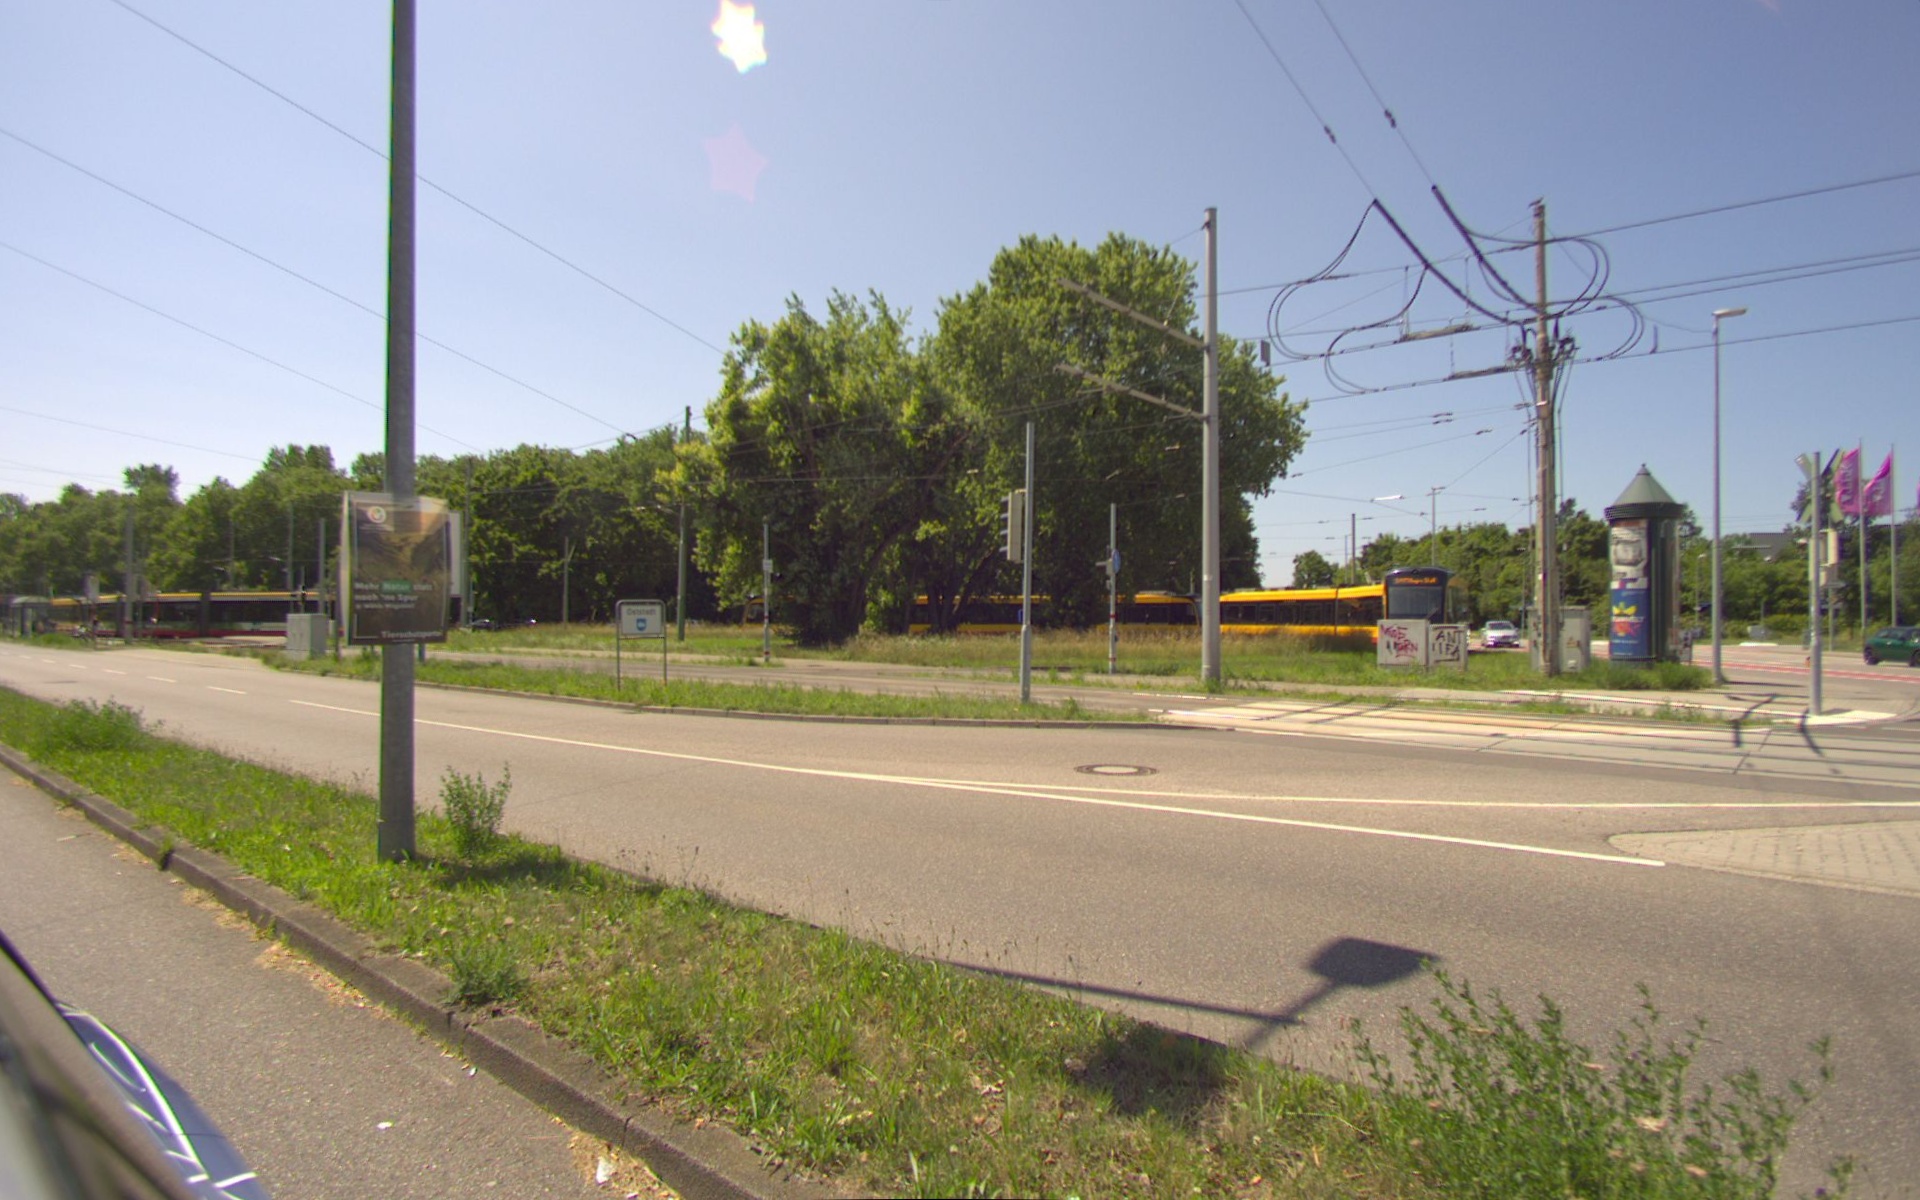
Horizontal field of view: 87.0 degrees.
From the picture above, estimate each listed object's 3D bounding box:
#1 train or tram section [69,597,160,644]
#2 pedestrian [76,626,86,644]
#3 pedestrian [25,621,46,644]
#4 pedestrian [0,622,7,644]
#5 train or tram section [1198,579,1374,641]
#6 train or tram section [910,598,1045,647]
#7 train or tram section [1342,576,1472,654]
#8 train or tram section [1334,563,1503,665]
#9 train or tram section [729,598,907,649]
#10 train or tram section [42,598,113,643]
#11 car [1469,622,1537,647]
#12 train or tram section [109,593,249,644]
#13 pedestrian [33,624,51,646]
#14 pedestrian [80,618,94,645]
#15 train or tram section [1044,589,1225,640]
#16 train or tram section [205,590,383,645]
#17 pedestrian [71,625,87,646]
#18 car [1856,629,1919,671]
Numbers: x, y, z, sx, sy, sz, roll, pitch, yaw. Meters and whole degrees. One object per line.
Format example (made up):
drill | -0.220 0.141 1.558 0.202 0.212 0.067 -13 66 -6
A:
train or tram section | -69.753 1.697 83.290 13.880 3.652 3.014 -1 0 39
pedestrian | -52.750 2.072 60.745 0.377 1.066 0.379 -1 -1 38
pedestrian | -65.430 2.282 71.644 0.984 1.558 0.921 -1 -1 38
pedestrian | -78.958 2.698 83.346 0.775 1.804 0.626 -1 -1 39
train or tram section | 19.928 0.618 63.335 2.993 3.492 12.792 -1 0 -22
train or tram section | 1.428 1.726 78.360 10.107 3.492 3.038 -1 0 9
train or tram section | 22.209 0.698 51.058 3.010 3.492 10.202 -1 0 7
train or tram section | 18.750 0.449 40.597 3.043 3.492 13.120 -1 0 38
train or tram section | -10.609 1.745 76.574 13.064 3.492 3.050 -1 0 -5
train or tram section | -80.301 1.882 91.992 13.253 3.795 3.012 -1 0 41
car | 32.152 2.009 60.083 1.873 1.382 4.227 -1 -1 3
train or tram section | -58.986 1.418 76.312 12.380 3.652 3.028 -1 0 25
pedestrian | -64.547 2.434 71.144 0.878 1.519 0.826 -1 -1 38
pedestrian | -52.181 1.872 60.460 0.582 1.577 0.529 -1 -1 39
train or tram section | 12.538 1.106 73.567 12.692 3.492 3.017 -1 0 28
train or tram section | -47.803 1.275 72.607 12.326 3.652 3.041 -1 0 13
pedestrian | -53.188 2.147 61.092 0.535 1.198 0.575 -1 -1 35
car | 34.452 1.772 35.930 1.877 1.382 4.219 -1 -1 9
